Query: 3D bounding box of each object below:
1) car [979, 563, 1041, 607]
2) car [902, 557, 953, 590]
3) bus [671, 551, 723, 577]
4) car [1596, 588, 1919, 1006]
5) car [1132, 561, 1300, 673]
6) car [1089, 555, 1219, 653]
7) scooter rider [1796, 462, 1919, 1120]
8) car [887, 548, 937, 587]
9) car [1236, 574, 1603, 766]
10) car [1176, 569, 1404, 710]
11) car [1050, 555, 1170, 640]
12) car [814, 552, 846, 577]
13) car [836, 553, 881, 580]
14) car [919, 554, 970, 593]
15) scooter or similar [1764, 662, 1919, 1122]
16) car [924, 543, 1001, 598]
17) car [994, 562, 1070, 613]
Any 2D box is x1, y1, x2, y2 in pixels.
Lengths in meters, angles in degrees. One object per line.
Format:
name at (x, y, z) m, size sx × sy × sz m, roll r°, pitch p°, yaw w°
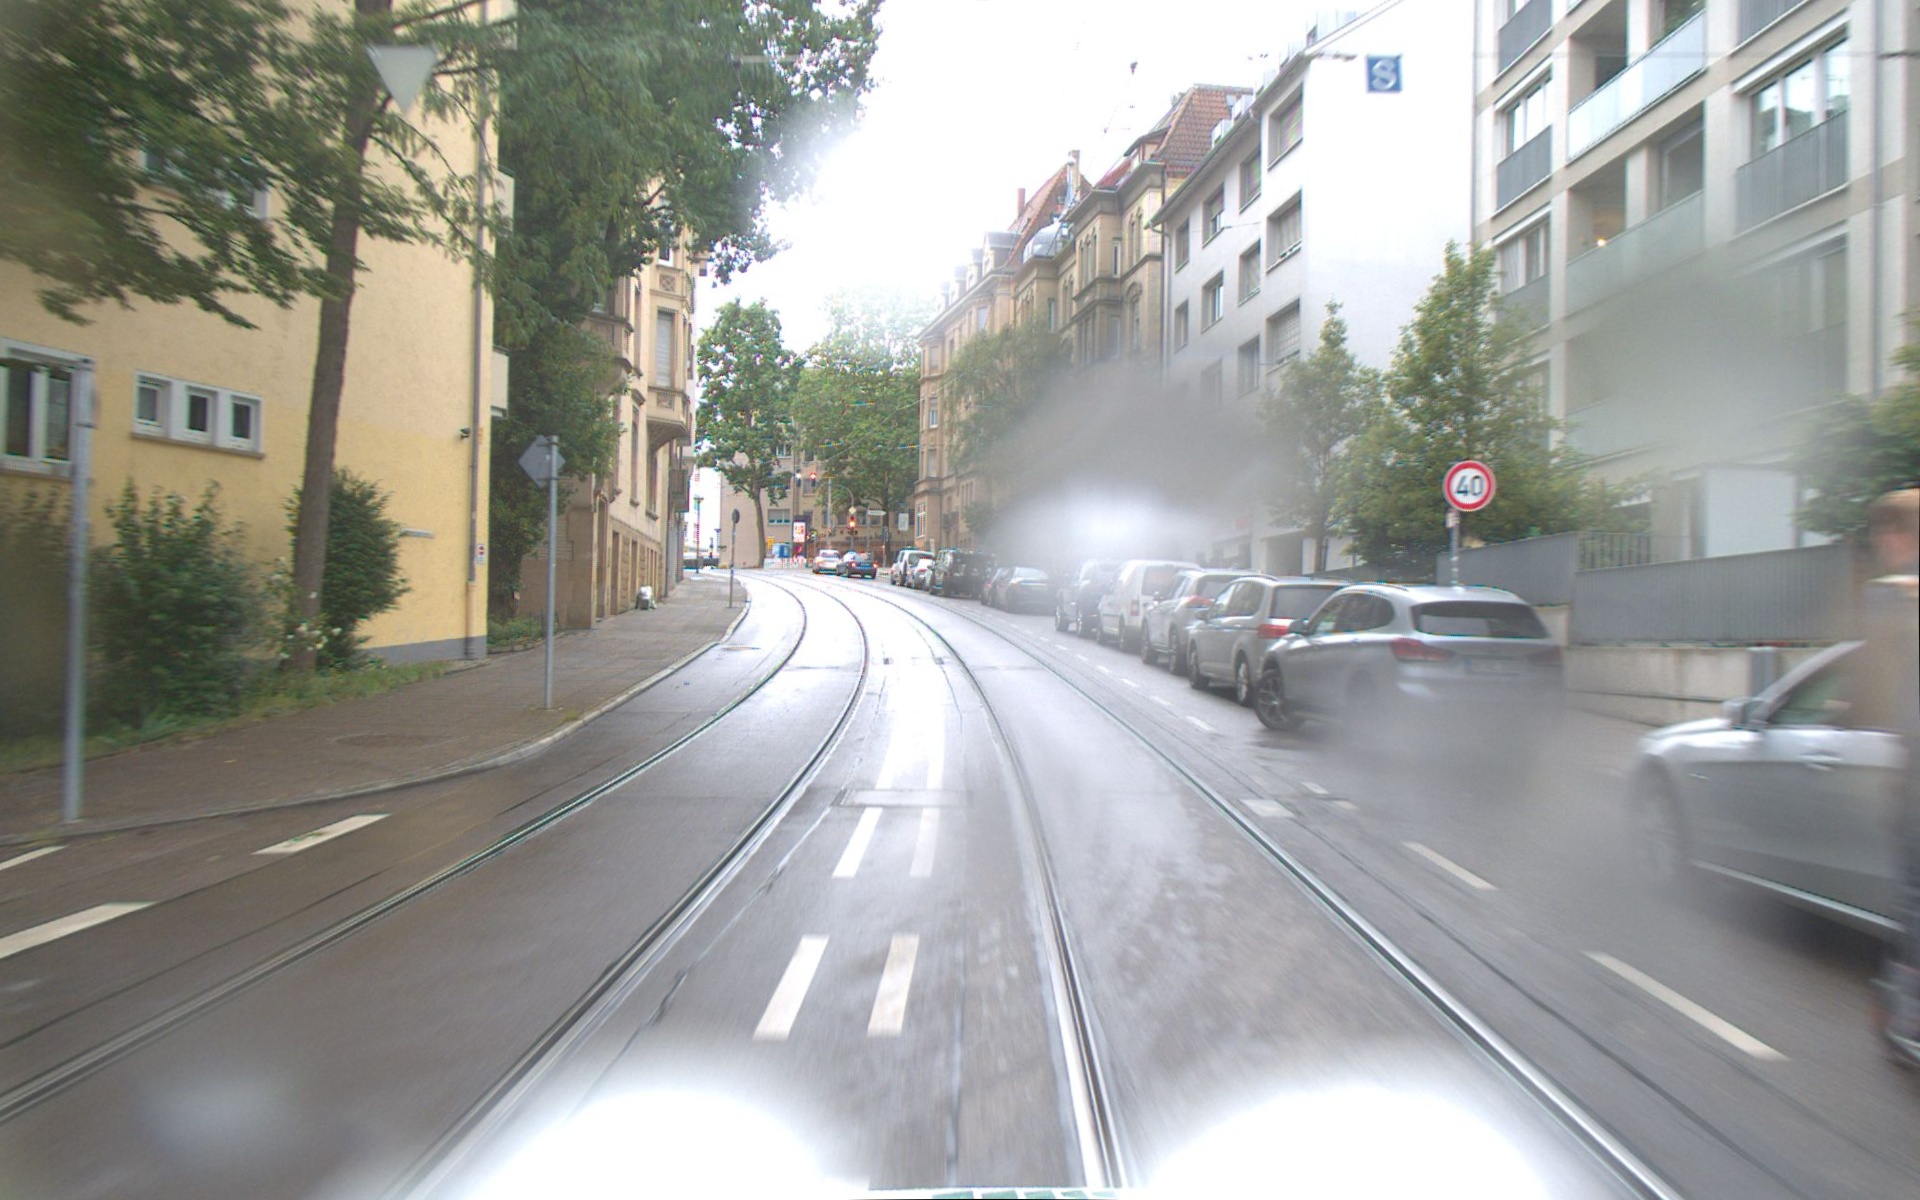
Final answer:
car at (1.697, -0.548, 57.511) m, size 1.646 × 1.361 × 3.879 m, roll 2°, pitch 2°, yaw -6°
car at (-1.547, -1.271, 78.220) m, size 1.717 × 1.424 × 4.469 m, roll 3°, pitch 1°, yaw -10°
bus at (-30.113, -4.204, 189.734) m, size 2.793 × 2.911 × 8.742 m, roll 1°, pitch 2°, yaw 12°
car at (4.553, 0.781, 6.930) m, size 1.820 × 1.542 × 4.789 m, roll 2°, pitch 1°, yaw -1°
car at (4.257, 0.230, 28.266) m, size 1.796 × 1.685 × 4.684 m, roll 2°, pitch 1°, yaw -4°
car at (3.952, 0.030, 34.382) m, size 1.744 × 1.826 × 4.467 m, roll 2°, pitch 1°, yaw -5°
scooter rider at (3.088, 0.554, 5.081) m, size 0.630 × 1.890 × 0.689 m, roll 2°, pitch 0°, yaw -1°
car at (-2.461, -1.643, 83.571) m, size 1.766 × 1.795 × 4.451 m, roll 3°, pitch 1°, yaw -11°
car at (4.458, 0.592, 16.894) m, size 1.938 × 1.612 × 4.559 m, roll 2°, pitch 1°, yaw -8°
car at (4.353, 0.448, 22.609) m, size 1.796 × 1.656 × 4.659 m, roll 2°, pitch 1°, yaw -5°
car at (3.512, -0.107, 39.738) m, size 1.905 × 1.826 × 4.815 m, roll 2°, pitch 1°, yaw -6°
car at (-8.150, -2.220, 103.103) m, size 1.679 × 1.481 × 3.546 m, roll 2°, pitch 2°, yaw -9°
car at (-5.974, -1.968, 97.256) m, size 1.684 × 1.439 × 4.017 m, roll 2°, pitch 2°, yaw -18°
car at (-0.714, -1.184, 73.468) m, size 1.532 × 1.572 × 3.575 m, roll 3°, pitch 1°, yaw -12°
scooter or similar at (3.077, 0.865, 5.088) m, size 0.630 × 1.283 × 1.089 m, roll 2°, pitch 0°, yaw -1°
car at (0.055, -1.240, 67.525) m, size 2.091 × 2.048 × 5.338 m, roll 3°, pitch 1°, yaw -11°
car at (2.247, -0.444, 52.952) m, size 1.760 × 1.462 × 4.606 m, roll 2°, pitch 2°, yaw -6°
